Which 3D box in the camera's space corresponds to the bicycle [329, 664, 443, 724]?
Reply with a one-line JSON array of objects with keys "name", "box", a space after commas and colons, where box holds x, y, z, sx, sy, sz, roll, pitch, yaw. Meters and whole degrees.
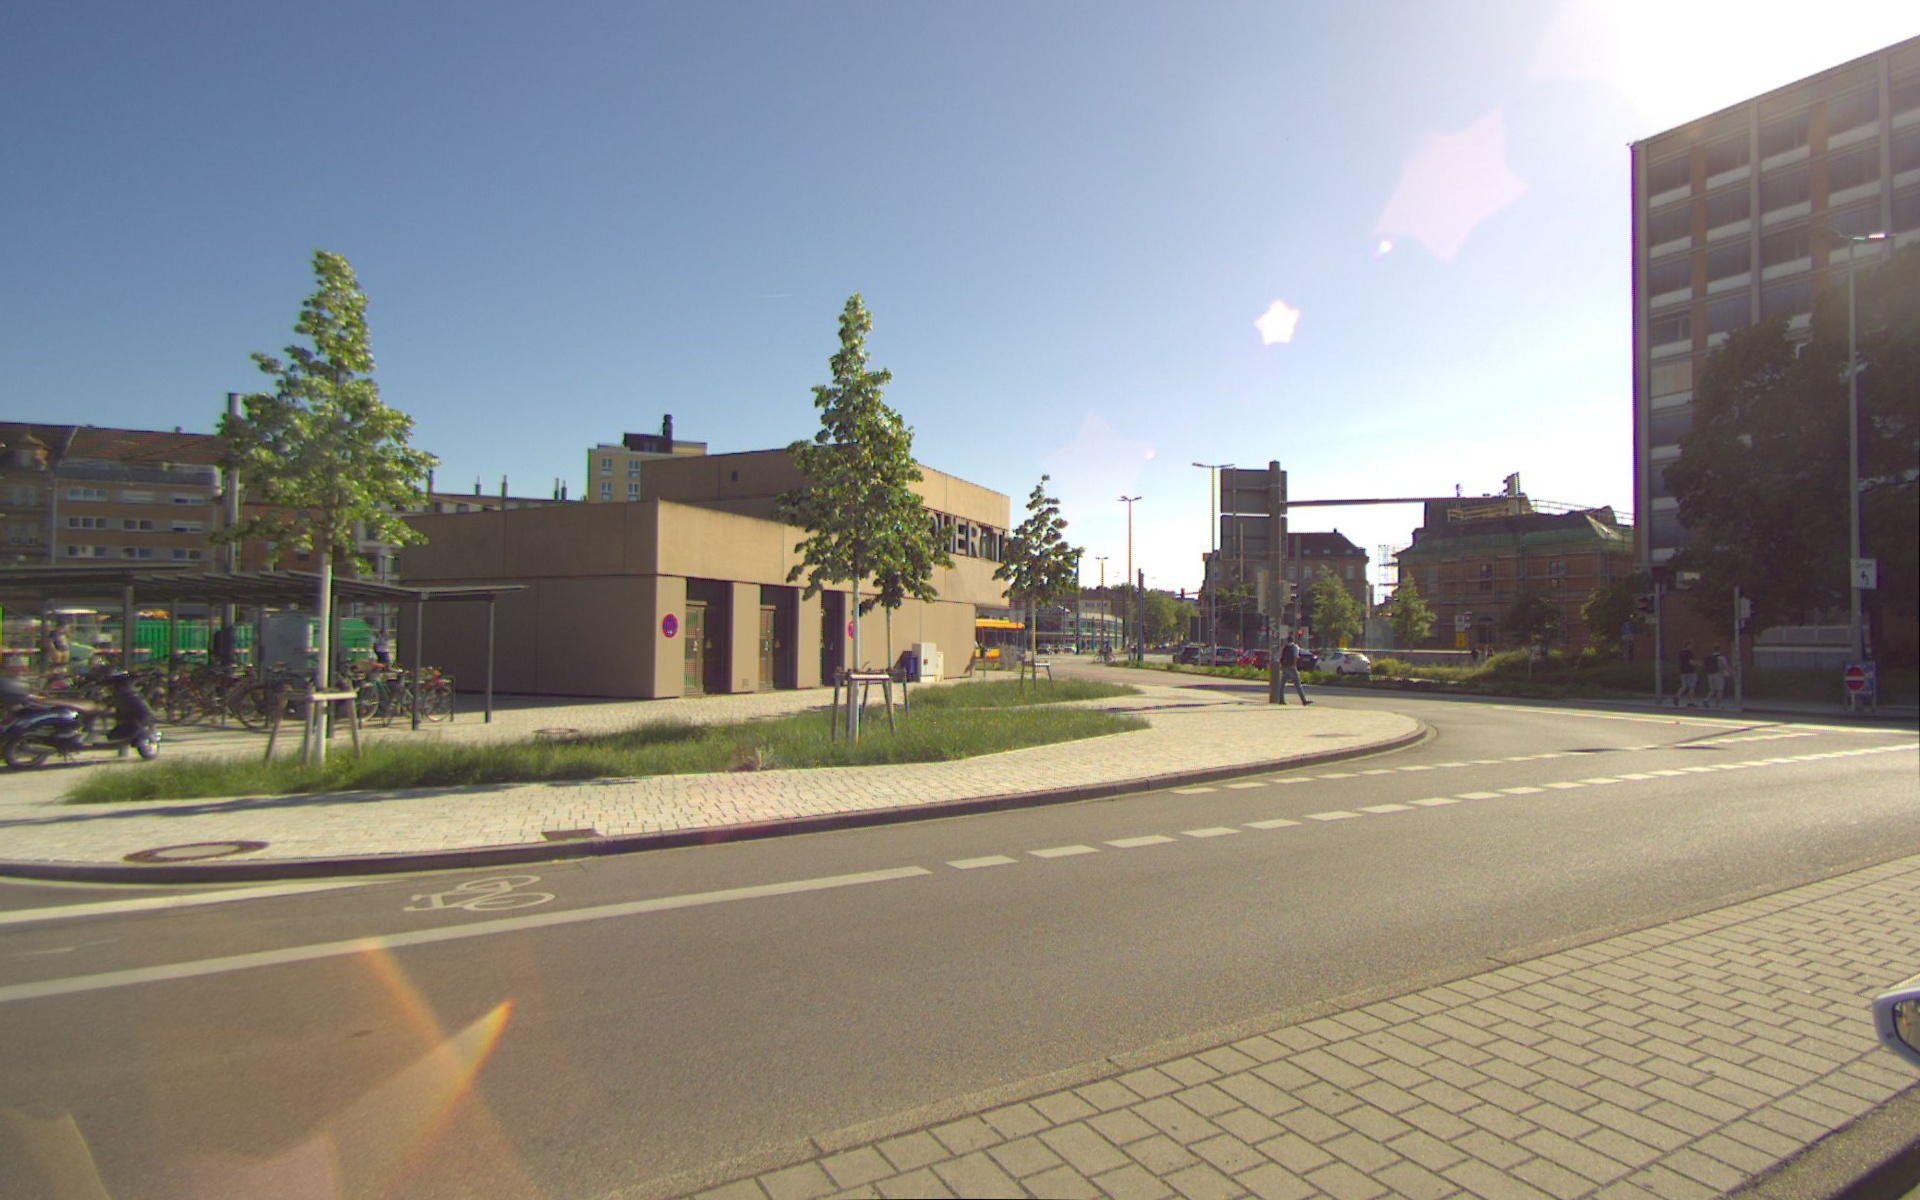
[{"name": "bicycle", "box": [-10.709, 1.732, 18.813, 0.449, 1.022, 1.902, 0, -2, 26]}]

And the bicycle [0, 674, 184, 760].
[{"name": "bicycle", "box": [-11.817, 1.554, 13.718, 0.449, 1.022, 1.902, 0, -2, 26]}]

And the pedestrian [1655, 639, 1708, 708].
[{"name": "pedestrian", "box": [20.193, 2.048, 28.116, 0.895, 1.887, 0.813, 1, -2, -16]}]

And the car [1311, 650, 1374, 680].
[{"name": "car", "box": [21.250, 3.590, 55.928, 1.760, 1.528, 3.880, 1, -2, -6]}]

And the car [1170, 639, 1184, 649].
[{"name": "car", "box": [45.394, 9.267, 210.530, 1.760, 2.040, 3.993, 0, -2, 29]}]

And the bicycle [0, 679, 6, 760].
[{"name": "bicycle", "box": [-12.748, 1.482, 11.998, 0.449, 1.022, 1.902, 0, -2, 26]}]

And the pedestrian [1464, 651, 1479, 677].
[{"name": "pedestrian", "box": [34.642, 4.320, 68.022, 0.754, 1.753, 0.675, 2, -2, -39]}]

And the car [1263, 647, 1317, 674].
[{"name": "car", "box": [20.576, 3.763, 62.785, 1.760, 1.528, 3.880, 1, -2, -6]}]

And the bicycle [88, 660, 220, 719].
[{"name": "bicycle", "box": [-15.083, 1.653, 18.859, 0.449, 1.022, 1.902, 0, -2, 26]}]

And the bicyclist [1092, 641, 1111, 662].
[{"name": "bicyclist", "box": [11.978, 4.352, 84.931, 1.544, 1.655, 0.811, 2, 0, 8]}]

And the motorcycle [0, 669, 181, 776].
[{"name": "motorcycle", "box": [-10.922, 1.473, 12.464, 0.508, 1.166, 1.947, 0, -2, 25]}]

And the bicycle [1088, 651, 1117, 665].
[{"name": "bicycle", "box": [12.086, 4.869, 84.887, 2.370, 1.076, 0.811, 2, 0, 10]}]

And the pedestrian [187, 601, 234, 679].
[{"name": "pedestrian", "box": [-18.061, 0.959, 24.211, 0.555, 1.858, 0.683, 0, -2, 27]}]

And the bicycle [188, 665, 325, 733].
[{"name": "bicycle", "box": [-11.891, 1.650, 17.053, 0.449, 1.022, 1.902, 0, -2, 26]}]

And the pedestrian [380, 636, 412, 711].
[{"name": "pedestrian", "box": [-15.716, 2.039, 27.988, 0.710, 2.039, 0.682, 2, -4, -30]}]

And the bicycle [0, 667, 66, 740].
[{"name": "bicycle", "box": [-14.161, 1.506, 14.440, 0.449, 1.022, 1.902, 0, -2, 26]}]

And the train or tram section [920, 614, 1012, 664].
[{"name": "train or tram section", "box": [0.637, 2.749, 73.022, 2.649, 3.275, 10.595, 2, 0, 24]}]

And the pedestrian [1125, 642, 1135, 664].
[{"name": "pedestrian", "box": [14.094, 4.413, 83.293, 0.761, 1.786, 0.706, 0, -2, 12]}]

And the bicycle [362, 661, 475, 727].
[{"name": "bicycle", "box": [-9.930, 1.694, 18.484, 0.449, 1.112, 1.902, 0, -2, 26]}]

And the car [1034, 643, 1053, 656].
[{"name": "car", "box": [11.410, 6.733, 136.911, 1.709, 1.672, 4.002, 0, -2, 17]}]

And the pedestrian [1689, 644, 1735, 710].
[{"name": "pedestrian", "box": [20.395, 2.083, 27.235, 0.748, 1.753, 0.680, 1, -2, -16]}]

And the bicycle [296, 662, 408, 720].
[{"name": "bicycle", "box": [-11.799, 1.741, 19.571, 0.449, 1.022, 1.902, 0, -2, 26]}]

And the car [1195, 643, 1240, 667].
[{"name": "car", "box": [17.458, 3.689, 68.266, 1.760, 1.528, 3.880, 1, -2, -6]}]

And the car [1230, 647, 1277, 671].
[{"name": "car", "box": [20.206, 4.028, 69.245, 1.760, 1.528, 3.880, 1, -2, -6]}]

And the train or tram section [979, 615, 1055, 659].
[{"name": "train or tram section", "box": [4.885, 2.925, 82.720, 2.649, 3.275, 10.595, 2, 0, 24]}]

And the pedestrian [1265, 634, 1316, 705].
[{"name": "pedestrian", "box": [8.378, 1.746, 25.495, 1.044, 1.753, 0.652, 1, -2, -16]}]

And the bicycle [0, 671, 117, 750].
[{"name": "bicycle", "box": [-13.031, 1.534, 14.009, 0.449, 1.022, 1.902, 0, -2, 26]}]

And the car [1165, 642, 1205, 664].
[{"name": "car", "box": [16.777, 3.925, 74.992, 1.760, 1.528, 3.880, 1, -2, -6]}]

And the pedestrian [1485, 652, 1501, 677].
[{"name": "pedestrian", "box": [36.913, 4.454, 69.602, 0.752, 1.753, 0.677, 2, -2, -32]}]

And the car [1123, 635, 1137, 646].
[{"name": "car", "box": [34.219, 8.143, 202.036, 1.961, 2.040, 3.998, 2, 0, 23]}]

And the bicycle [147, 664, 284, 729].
[{"name": "bicycle", "box": [-12.901, 1.646, 17.484, 0.449, 1.022, 1.902, 0, -2, 26]}]

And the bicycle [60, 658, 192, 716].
[{"name": "bicycle", "box": [-15.920, 1.641, 19.234, 0.449, 1.022, 1.902, 0, -2, 26]}]

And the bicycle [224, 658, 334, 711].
[{"name": "bicycle", "box": [-14.075, 1.726, 20.823, 0.449, 1.022, 1.902, 0, -2, 26]}]

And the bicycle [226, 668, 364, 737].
[{"name": "bicycle", "box": [-10.913, 1.660, 16.564, 0.449, 1.022, 1.902, 0, -2, 26]}]

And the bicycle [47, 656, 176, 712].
[{"name": "bicycle", "box": [-16.702, 1.636, 19.833, 0.449, 1.022, 1.902, 0, -2, 26]}]
